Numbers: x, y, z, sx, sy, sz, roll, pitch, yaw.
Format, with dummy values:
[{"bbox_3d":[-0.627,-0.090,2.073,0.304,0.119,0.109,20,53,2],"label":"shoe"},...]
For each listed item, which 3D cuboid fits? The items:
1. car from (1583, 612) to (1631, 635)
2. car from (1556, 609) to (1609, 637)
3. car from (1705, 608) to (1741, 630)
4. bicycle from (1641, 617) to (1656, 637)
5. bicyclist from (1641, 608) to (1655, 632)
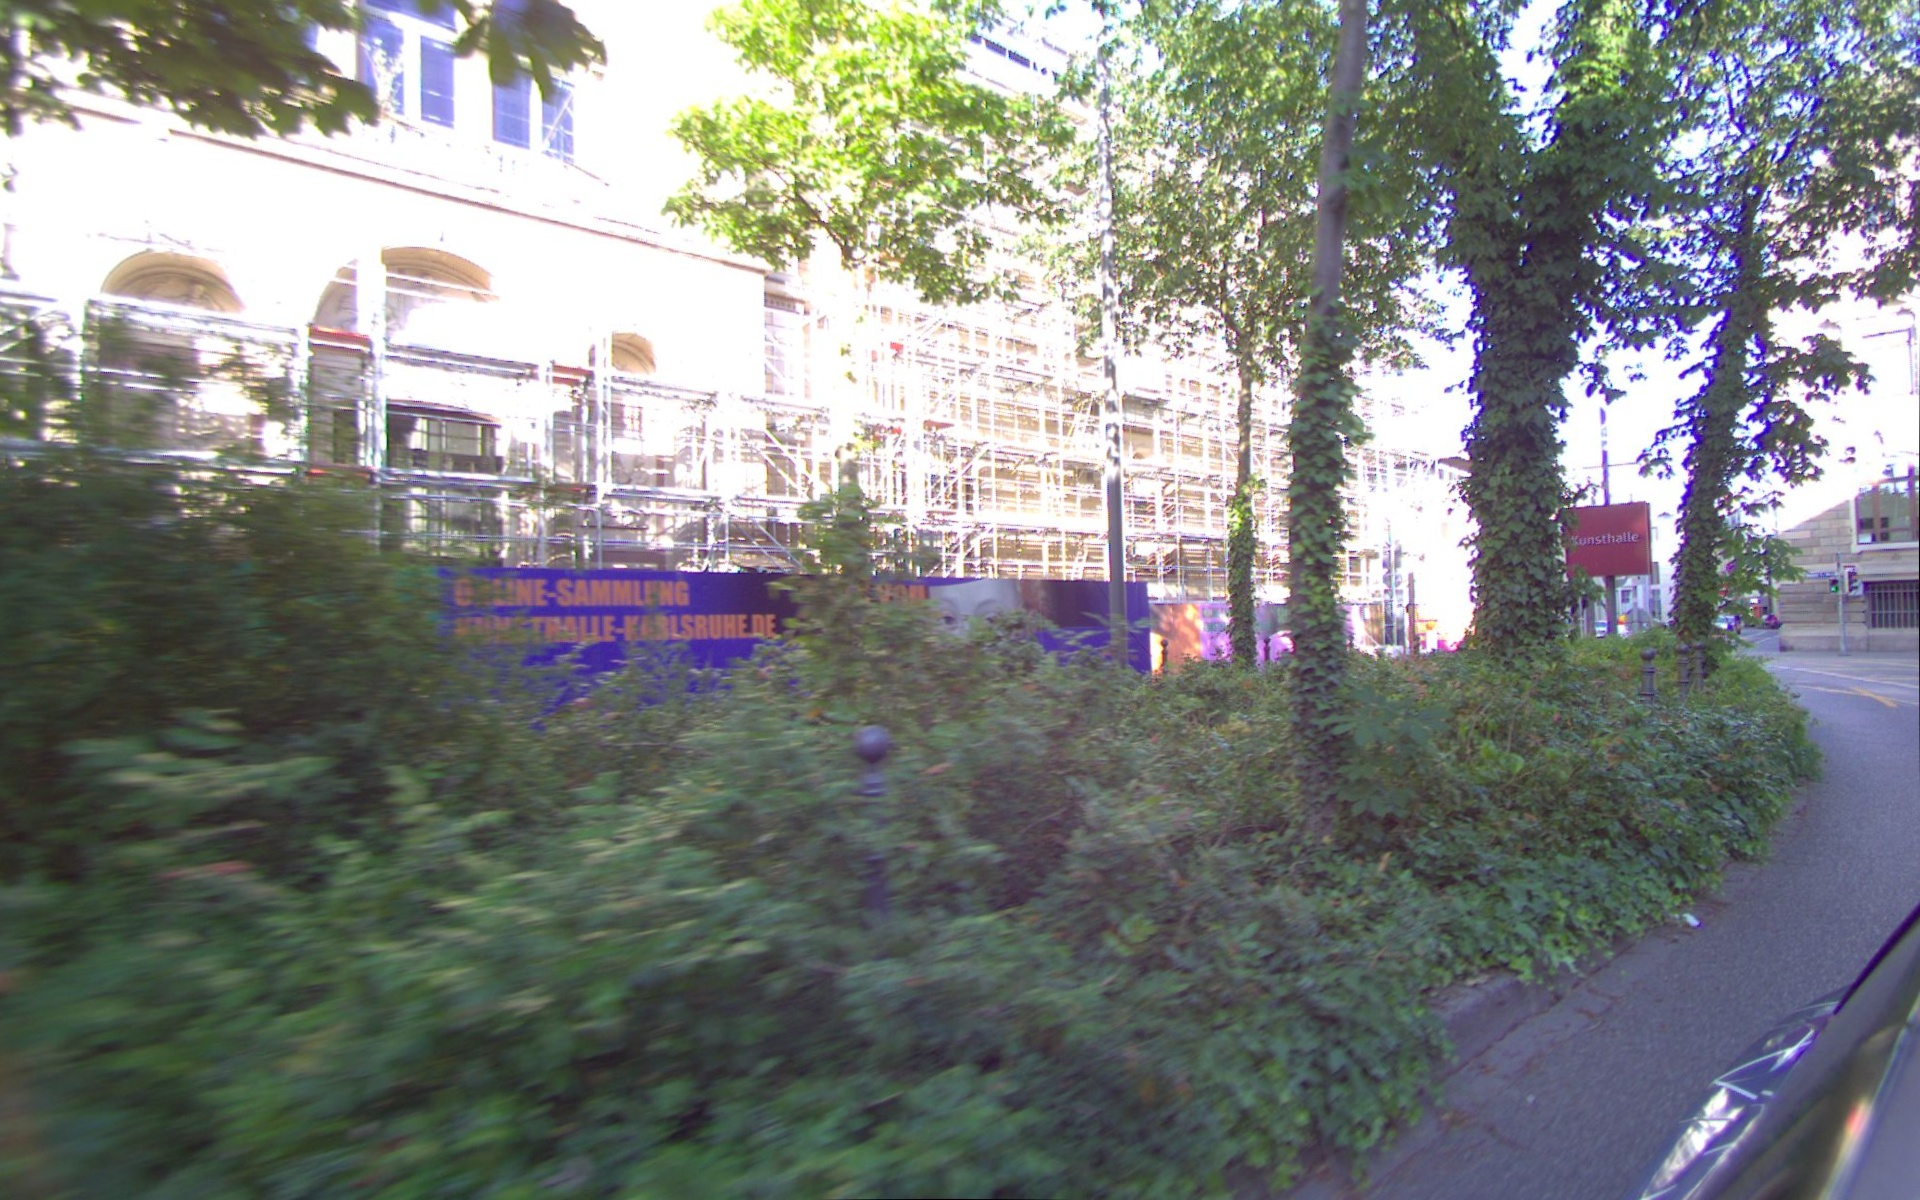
[{"bbox_3d":[43.267,1.544,67.605,4.523,1.362,1.697,0,-3,-45],"label":"car"},{"bbox_3d":[38.719,1.421,62.872,1.892,1.645,4.549,-4,-3,43],"label":"car"},{"bbox_3d":[56.953,1.401,75.522,1.847,1.511,4.191,-4,-3,41],"label":"car"},{"bbox_3d":[38.428,1.488,56.486,0.533,1.080,1.405,-4,-3,40],"label":"bicycle"},{"bbox_3d":[38.350,1.103,56.433,0.535,1.305,0.543,-4,-3,40],"label":"bicyclist"}]
